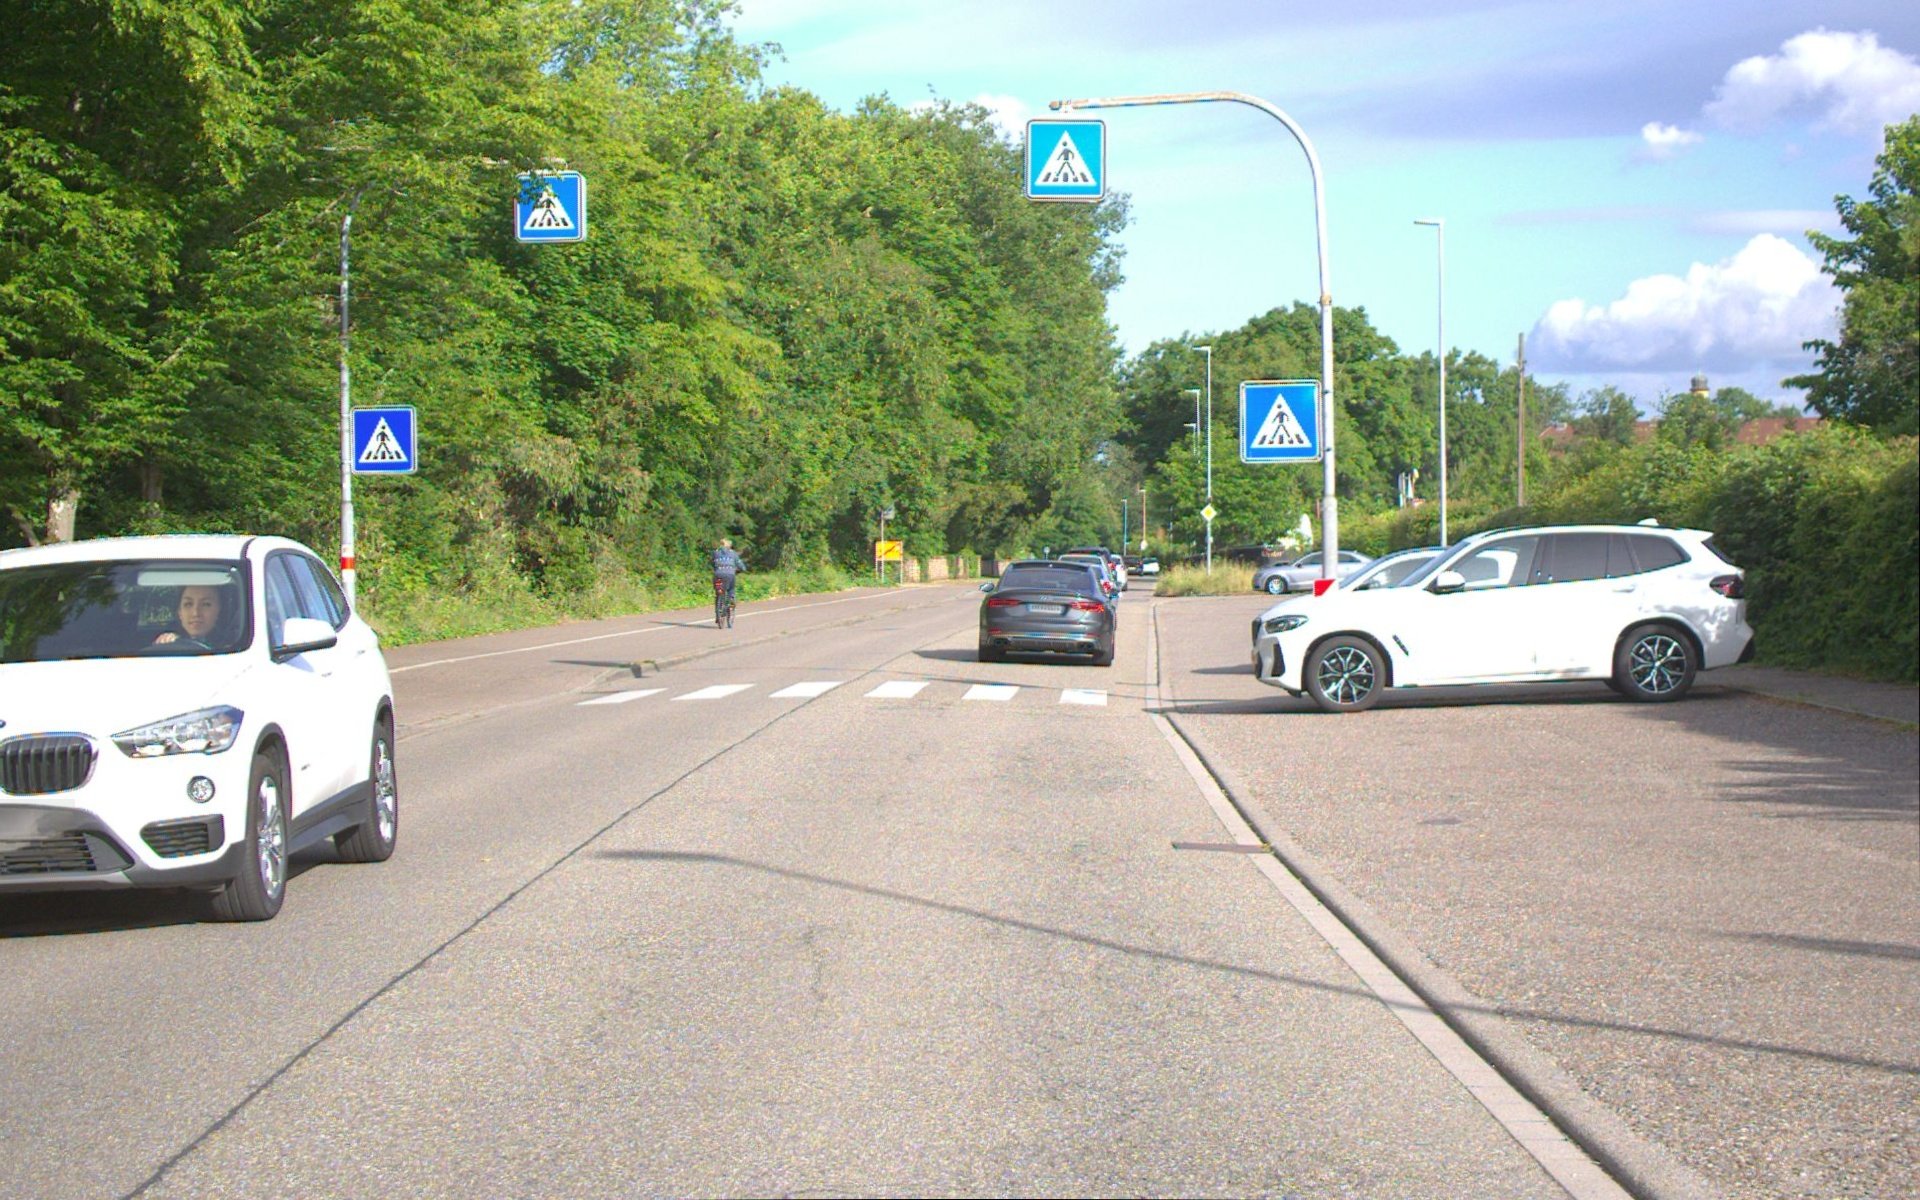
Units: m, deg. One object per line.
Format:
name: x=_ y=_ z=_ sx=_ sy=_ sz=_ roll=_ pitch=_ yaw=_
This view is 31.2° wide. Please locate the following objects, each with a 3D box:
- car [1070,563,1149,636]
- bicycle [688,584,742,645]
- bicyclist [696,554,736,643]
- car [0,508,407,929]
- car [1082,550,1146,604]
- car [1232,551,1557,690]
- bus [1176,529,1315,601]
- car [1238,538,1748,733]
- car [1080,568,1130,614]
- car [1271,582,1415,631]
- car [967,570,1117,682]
car: x=2.913 y=-0.023 z=67.336 sx=1.495 sy=1.361 sz=3.262 roll=-1 pitch=1 yaw=2
bicycle: x=-4.625 y=0.264 z=64.950 sx=0.662 sy=1.093 sz=2.348 roll=2 pitch=1 yaw=4
bicyclist: x=-4.615 y=-0.032 z=65.080 sx=0.609 sy=1.671 sz=0.883 roll=1 pitch=1 yaw=4
car: x=-3.698 y=0.452 z=15.082 sx=1.802 sy=1.580 sz=4.102 roll=-1 pitch=0 yaw=1
car: x=3.868 y=-0.591 z=86.175 sx=1.495 sy=1.300 sz=3.262 roll=0 pitch=1 yaw=4
car: x=5.455 y=0.241 z=43.454 sx=3.857 sy=1.485 sz=1.692 roll=-3 pitch=2 yaw=2
bus: x=11.452 y=-1.408 z=138.225 sx=5.365 sy=2.737 sz=2.068 roll=-1 pitch=1 yaw=1
car: x=4.965 y=0.321 z=32.527 sx=4.588 sy=1.694 sz=1.763 roll=-1 pitch=0 yaw=4
car: x=4.494 y=-0.297 z=106.423 sx=1.495 sy=1.361 sz=3.262 roll=0 pitch=1 yaw=3
car: x=12.019 y=0.195 z=107.858 sx=4.364 sy=1.438 sz=1.932 roll=-1 pitch=0 yaw=10
car: x=1.143 y=0.325 z=47.941 sx=1.966 sy=1.429 sz=4.336 roll=1 pitch=1 yaw=2
